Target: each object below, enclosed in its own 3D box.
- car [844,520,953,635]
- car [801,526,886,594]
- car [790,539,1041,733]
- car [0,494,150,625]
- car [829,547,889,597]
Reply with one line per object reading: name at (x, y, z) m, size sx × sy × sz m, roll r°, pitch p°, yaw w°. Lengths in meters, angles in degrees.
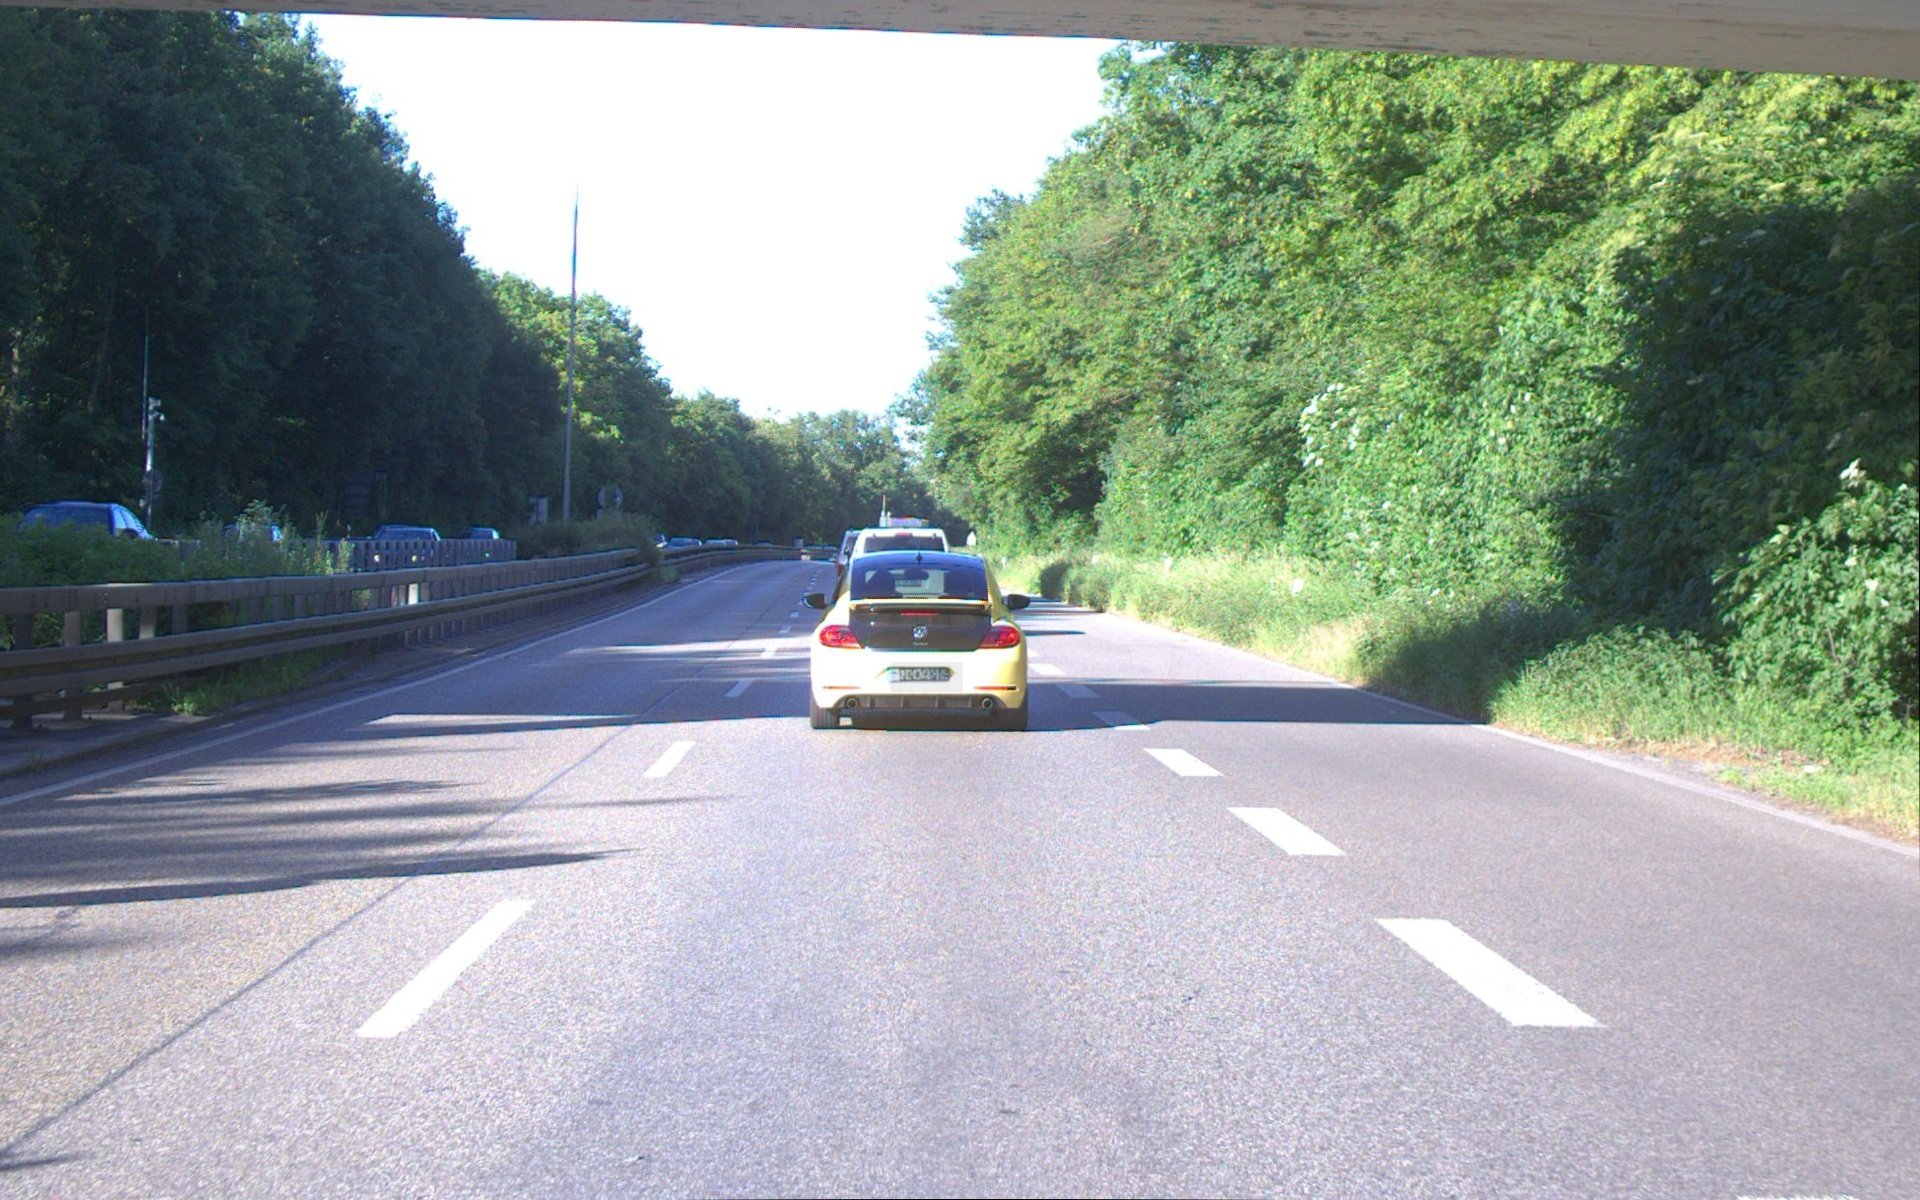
car at (-1.018, -0.387, 56.835) m, size 1.741 × 1.823 × 3.423 m, roll 1°, pitch 1°, yaw -1°
car at (-2.755, -0.944, 81.288) m, size 1.939 × 1.539 × 3.423 m, roll 1°, pitch 1°, yaw -2°
car at (-0.311, 0.271, 28.989) m, size 1.939 × 1.503 × 3.422 m, roll 1°, pitch 1°, yaw 2°
car at (-12.526, -0.576, 46.708) m, size 1.993 × 1.681 × 4.741 m, roll 1°, pitch 1°, yaw -1°
car at (-3.649, -1.003, 123.326) m, size 1.993 × 1.744 × 4.373 m, roll 1°, pitch 1°, yaw -3°
